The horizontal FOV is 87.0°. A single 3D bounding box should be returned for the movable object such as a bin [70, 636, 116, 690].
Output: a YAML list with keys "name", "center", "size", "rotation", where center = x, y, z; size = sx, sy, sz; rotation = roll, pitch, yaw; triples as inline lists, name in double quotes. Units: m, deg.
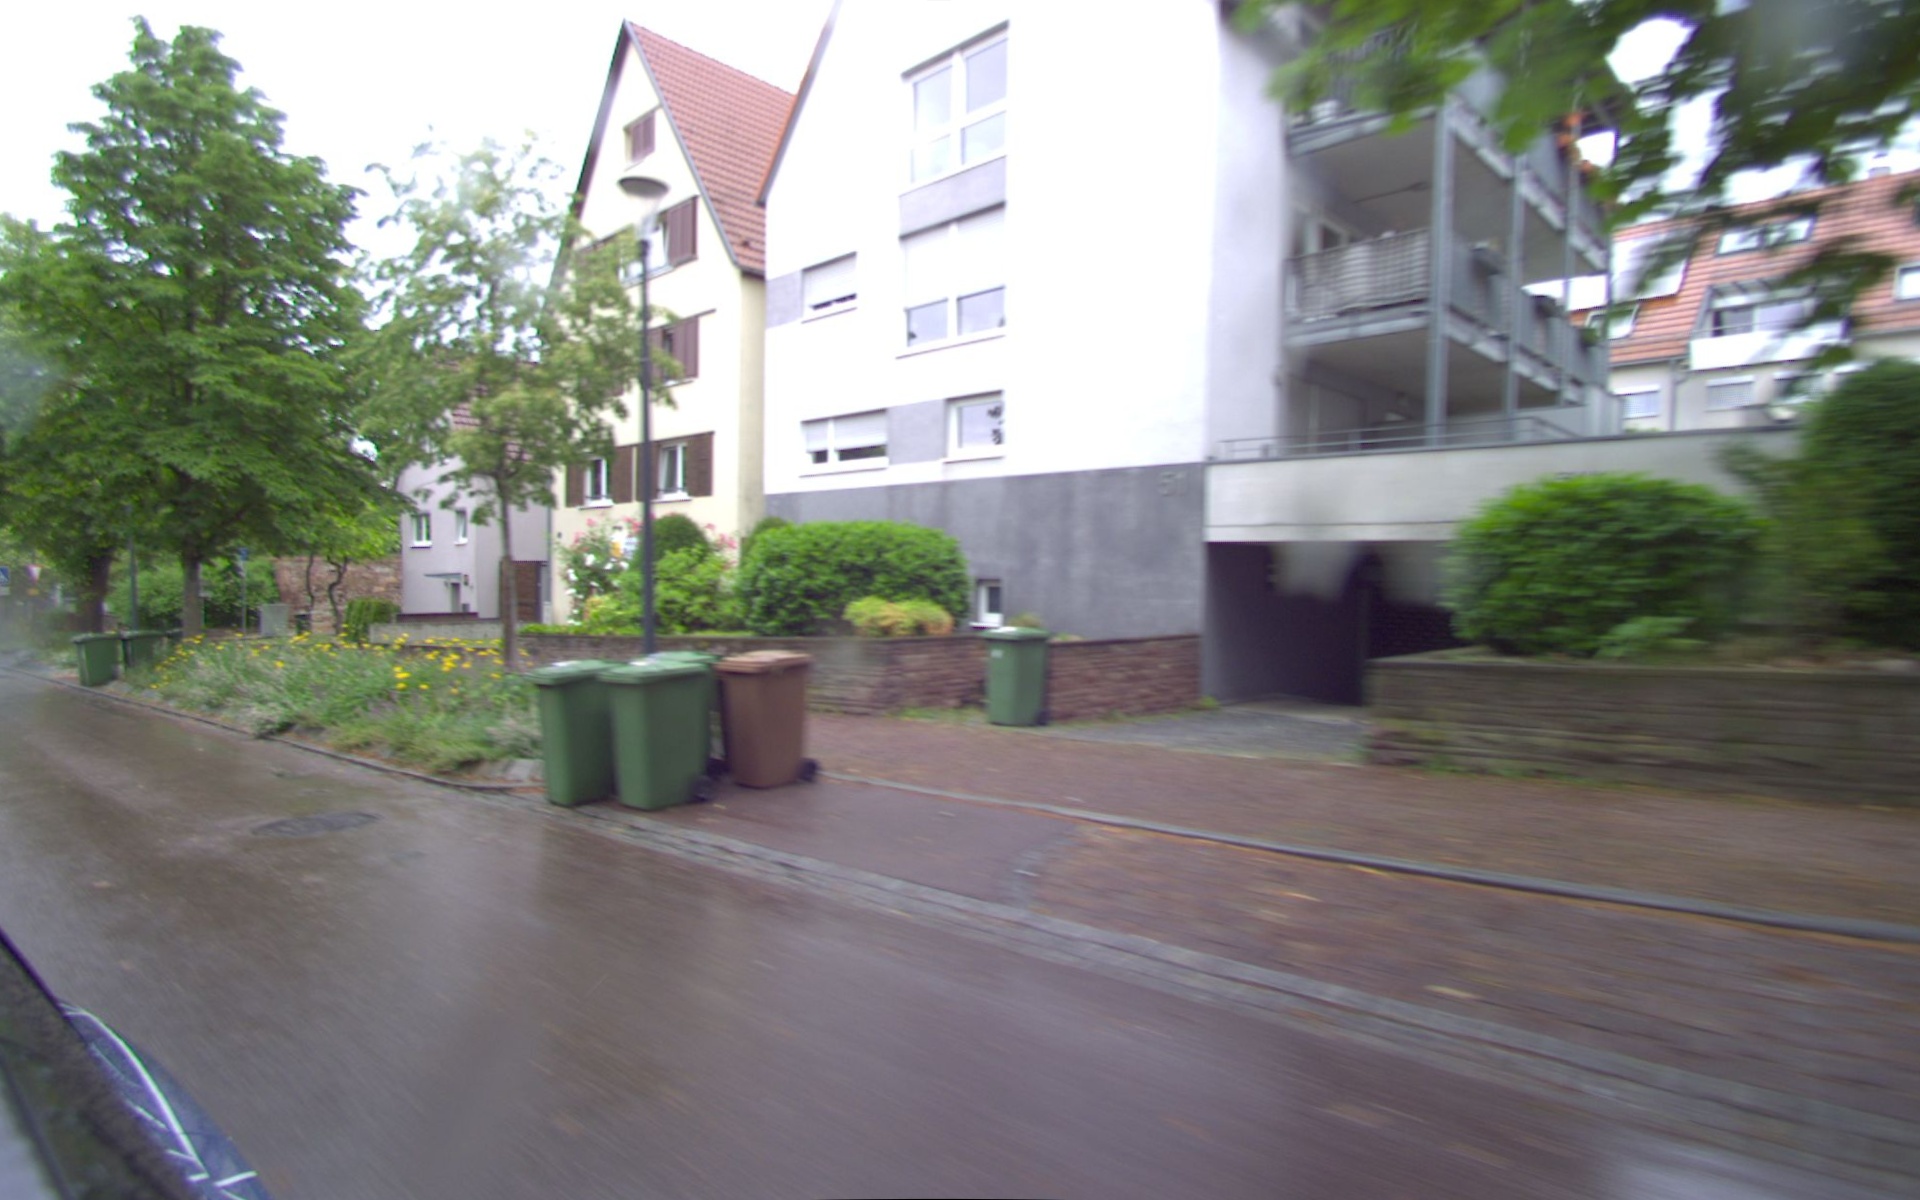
- name: "movable object such as a bin"
  center: [-18.464, 1.336, 21.561]
  size: [0.564, 1.067, 0.621]
  rotation: [-1, 2, 40]

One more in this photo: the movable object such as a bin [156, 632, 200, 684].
- name: "movable object such as a bin"
  center: [-17.142, 1.268, 22.185]
  size: [0.560, 1.067, 0.611]
  rotation: [-1, 2, 40]

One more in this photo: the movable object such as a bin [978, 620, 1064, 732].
- name: "movable object such as a bin"
  center: [0.661, 0.794, 10.976]
  size: [0.659, 1.141, 0.655]
  rotation: [-1, 0, 43]

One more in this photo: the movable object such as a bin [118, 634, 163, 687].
- name: "movable object such as a bin"
  center: [-17.553, 1.277, 21.681]
  size: [0.568, 1.067, 0.611]
  rotation: [-1, 2, 40]

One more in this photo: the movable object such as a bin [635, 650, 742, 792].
- name: "movable object such as a bin"
  center: [-2.269, 0.983, 8.453]
  size: [0.655, 1.082, 0.596]
  rotation: [1, -1, -44]

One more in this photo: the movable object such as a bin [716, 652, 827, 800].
- name: "movable object such as a bin"
  center: [-1.513, 0.978, 8.131]
  size: [0.655, 1.082, 0.596]
  rotation: [1, -1, -44]

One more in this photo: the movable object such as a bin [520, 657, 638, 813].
- name: "movable object such as a bin"
  center: [-2.921, 0.998, 7.763]
  size: [0.655, 1.082, 0.596]
  rotation: [1, -1, -44]

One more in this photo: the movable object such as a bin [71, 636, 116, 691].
- name: "movable object such as a bin"
  center: [-18.027, 1.306, 21.063]
  size: [0.570, 1.085, 0.578]
  rotation: [-1, 2, 39]

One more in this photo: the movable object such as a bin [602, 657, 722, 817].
- name: "movable object such as a bin"
  center: [-2.224, 0.985, 7.546]
  size: [0.655, 1.075, 0.596]
  rotation: [1, -1, -44]

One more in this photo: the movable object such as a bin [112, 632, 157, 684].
- name: "movable object such as a bin"
  center: [-18.058, 1.259, 22.135]
  size: [0.581, 1.069, 0.617]
  rotation: [-1, 2, 40]
